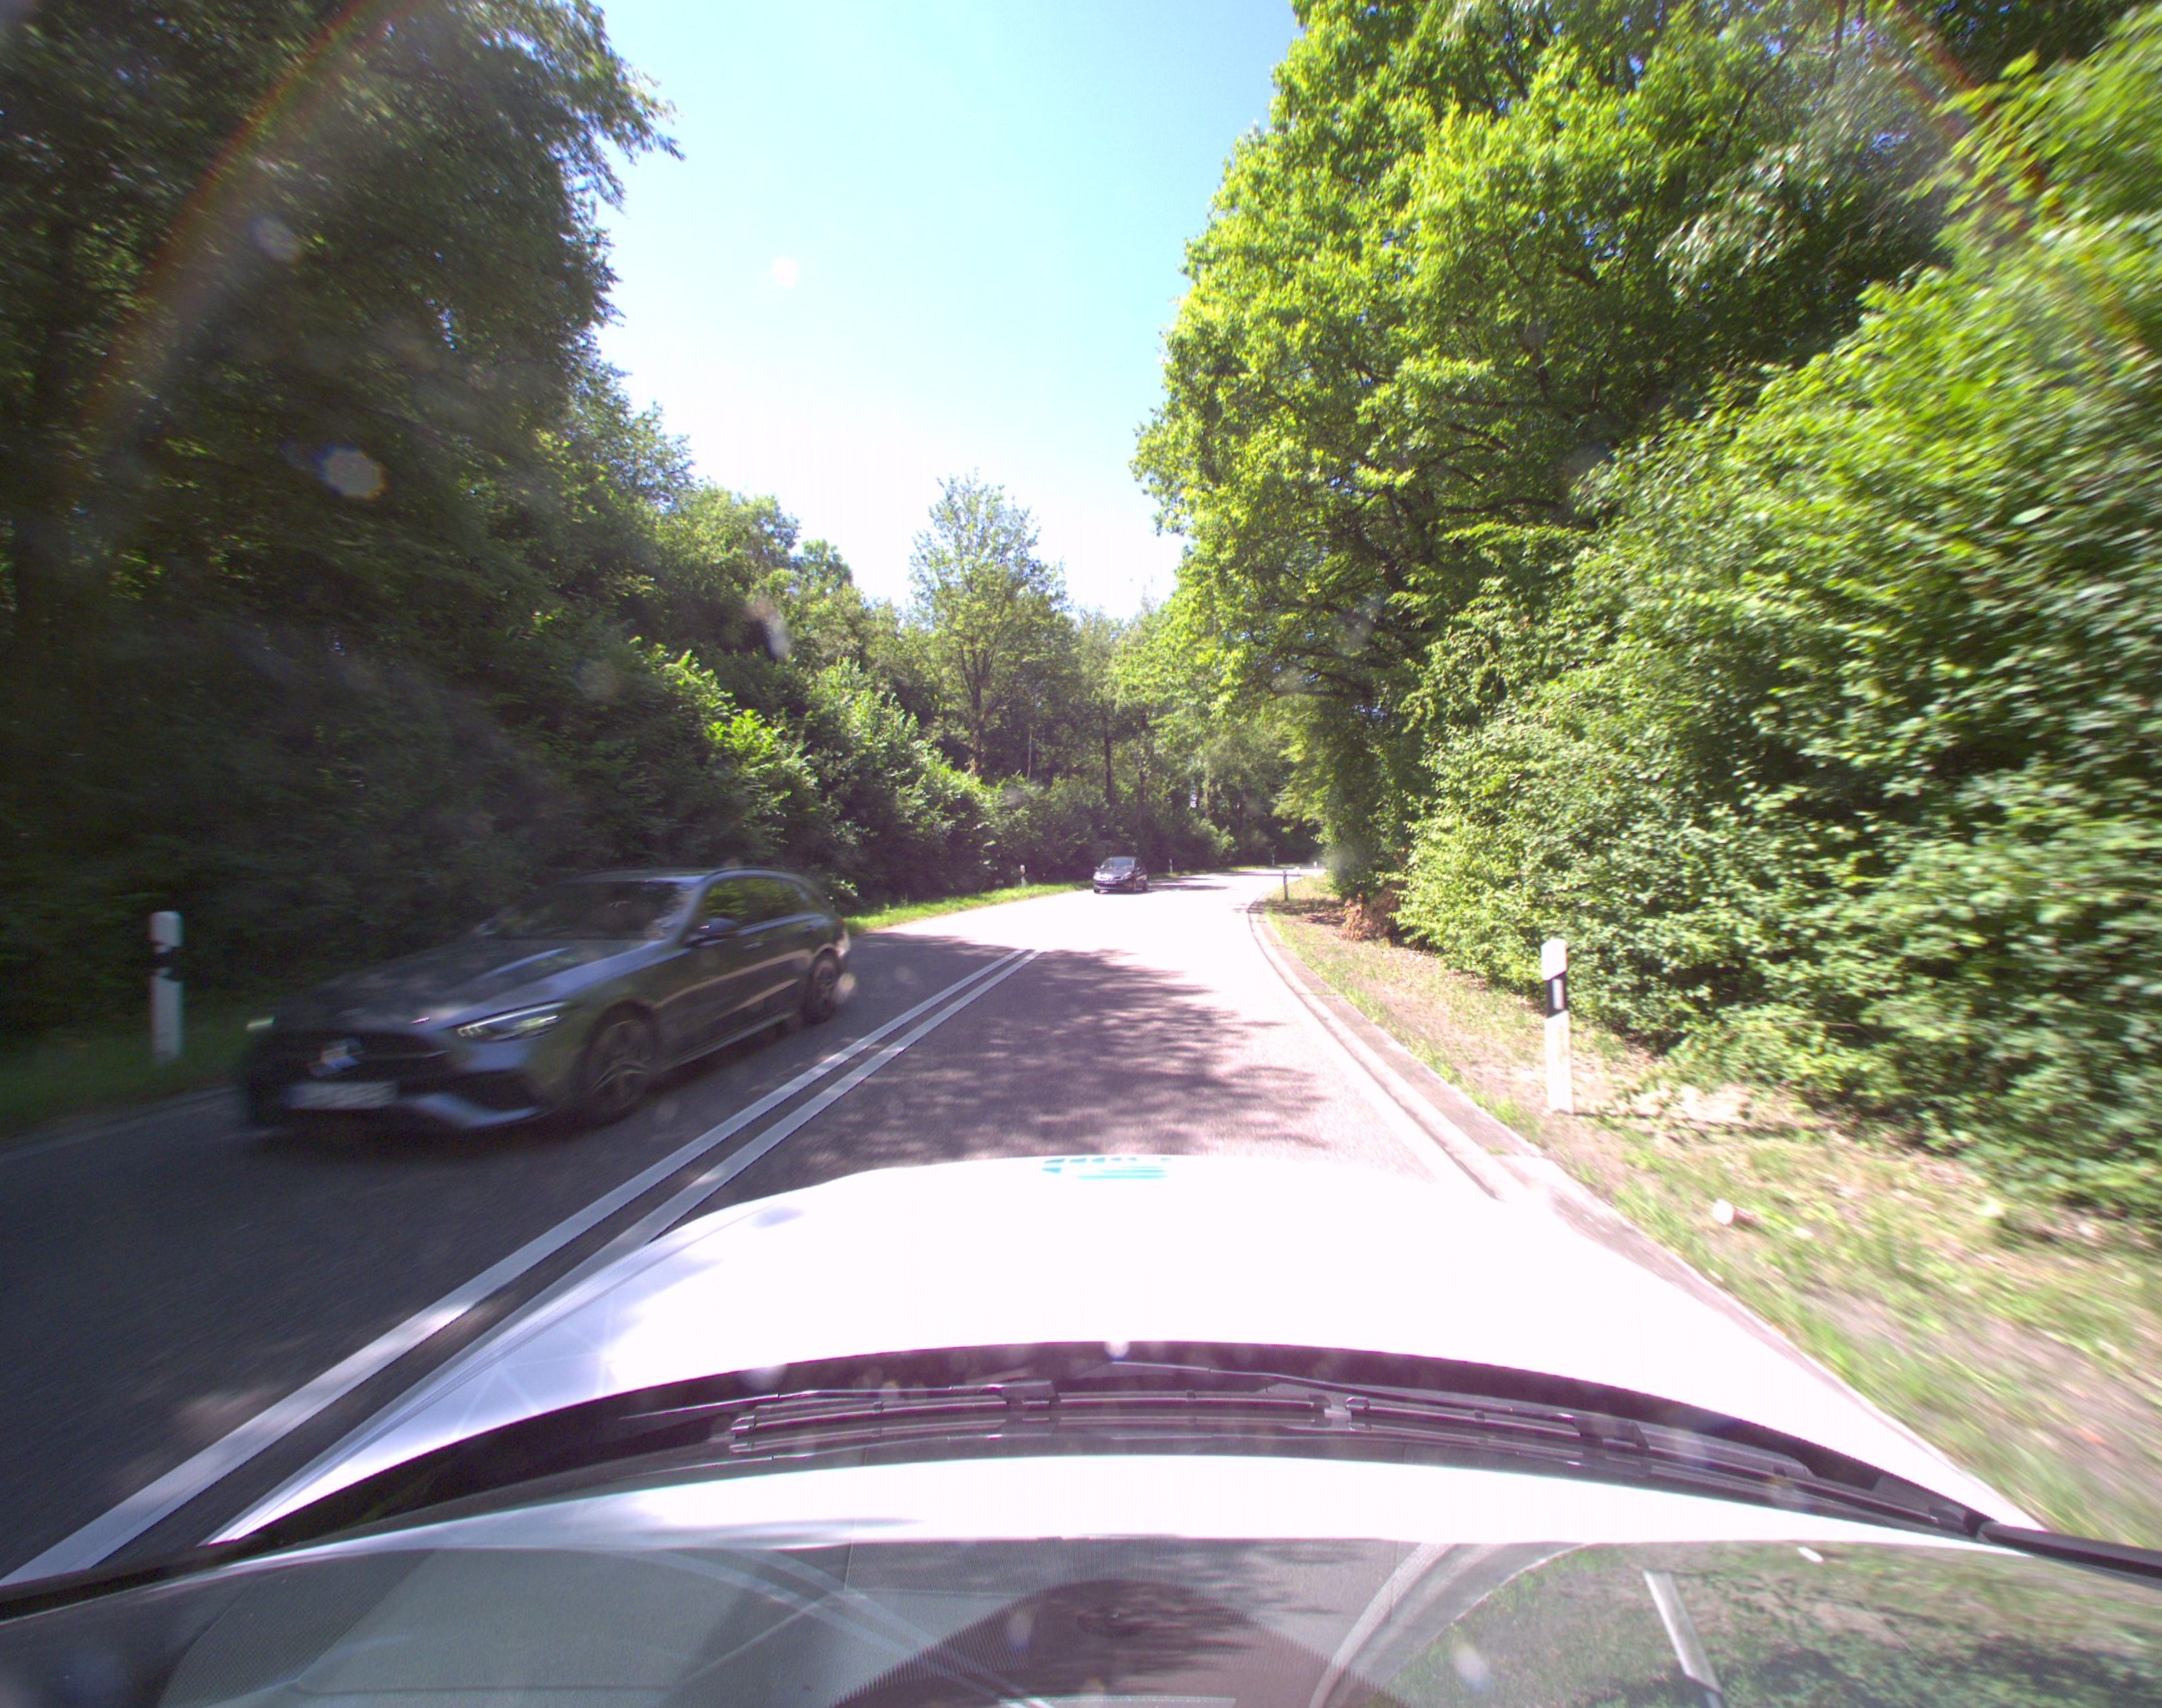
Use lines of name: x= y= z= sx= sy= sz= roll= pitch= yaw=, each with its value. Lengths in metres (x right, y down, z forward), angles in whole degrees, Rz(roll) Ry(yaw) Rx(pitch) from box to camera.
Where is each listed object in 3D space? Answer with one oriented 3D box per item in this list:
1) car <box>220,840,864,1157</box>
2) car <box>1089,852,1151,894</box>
car: x=-3.336 y=0.749 z=6.295 sx=1.747 sy=1.574 sz=4.374 roll=-1 pitch=-1 yaw=6
car: x=1.666 y=0.742 z=33.579 sx=1.665 sy=1.574 sz=3.910 roll=-2 pitch=-1 yaw=15
